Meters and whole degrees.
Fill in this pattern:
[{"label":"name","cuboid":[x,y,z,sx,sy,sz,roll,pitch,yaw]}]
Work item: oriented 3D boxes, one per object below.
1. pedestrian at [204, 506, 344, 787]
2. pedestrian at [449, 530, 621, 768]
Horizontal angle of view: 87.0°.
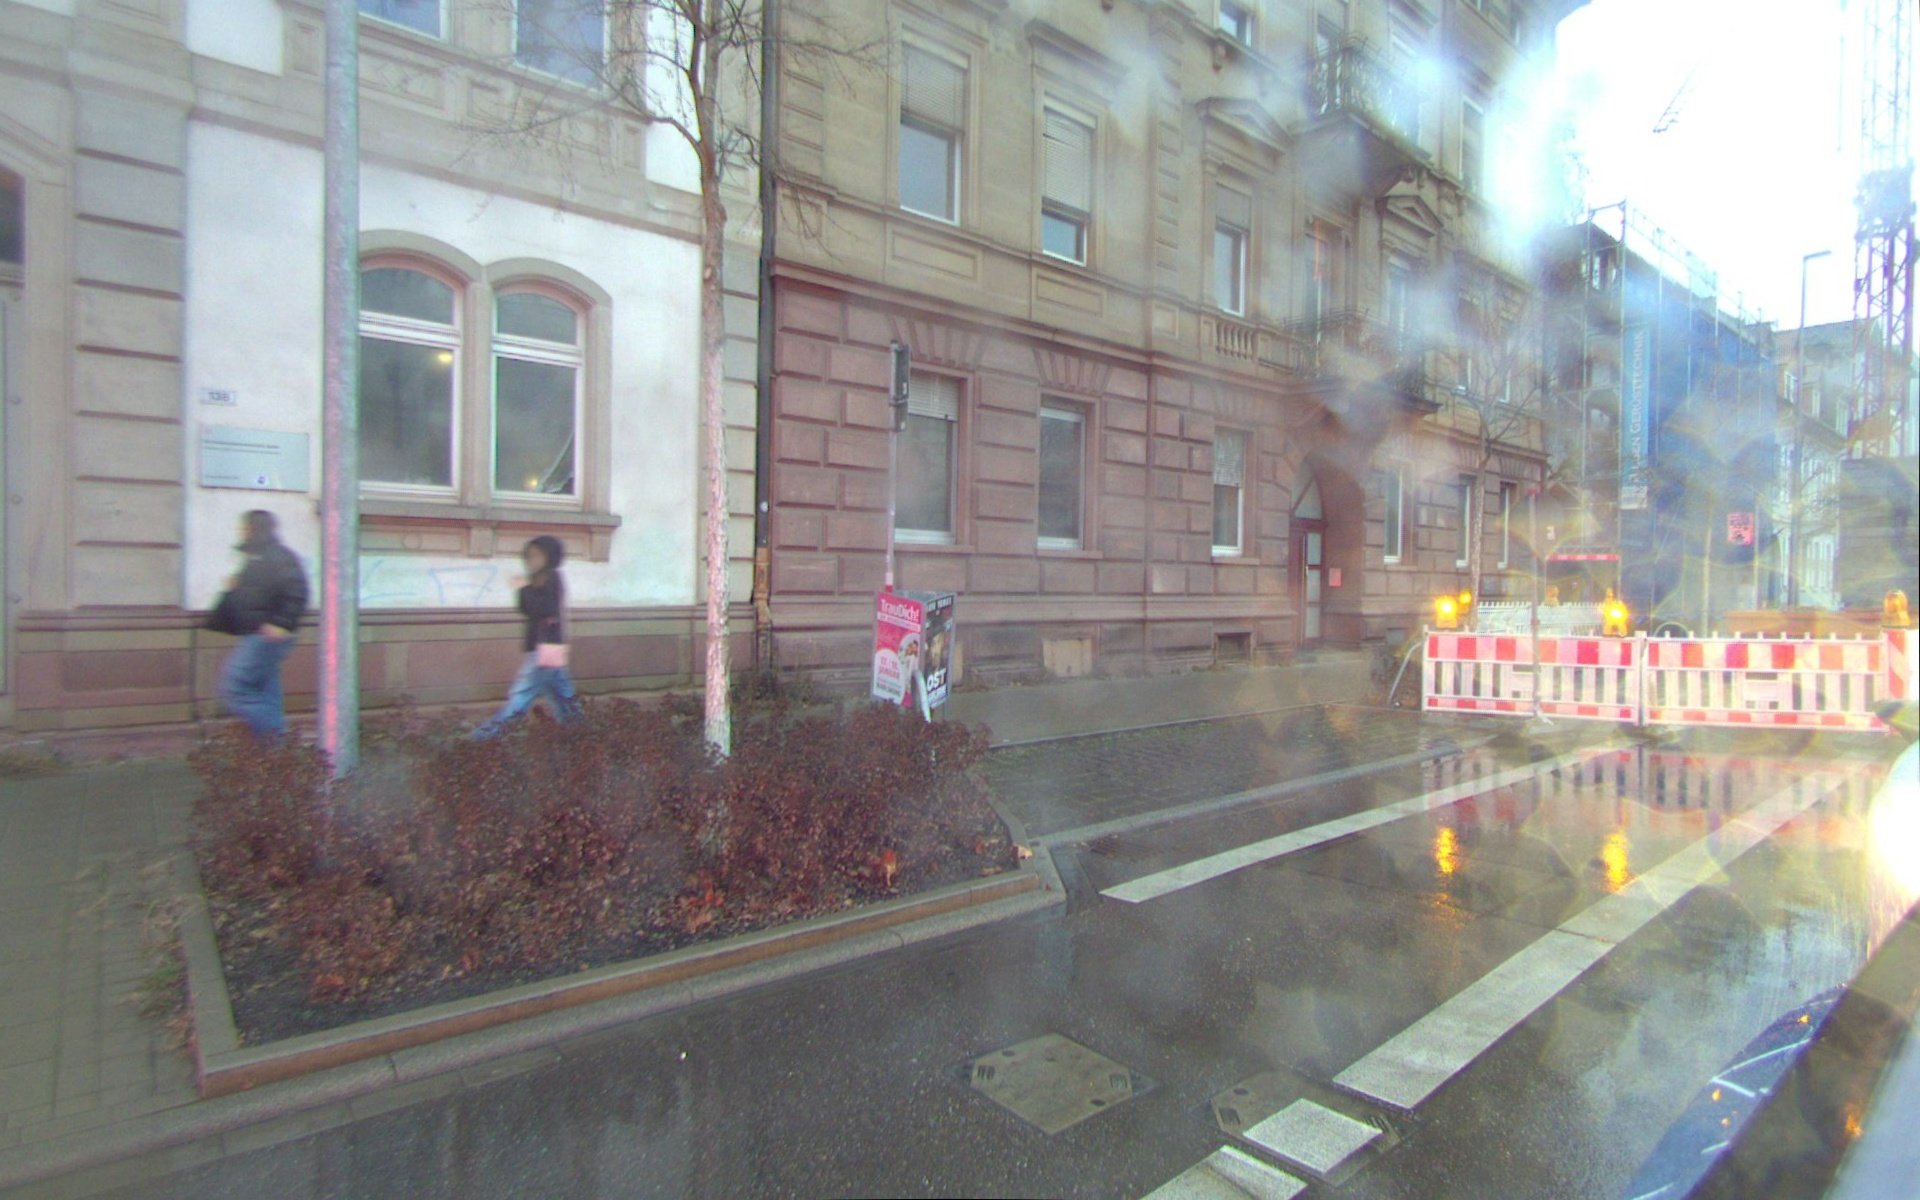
[{"label":"pedestrian","cuboid":[-4.510,0.264,6.638,0.694,1.693,0.870,0,2,-39]},{"label":"pedestrian","cuboid":[-3.061,0.305,7.280,0.913,1.564,0.870,0,2,-40]}]
